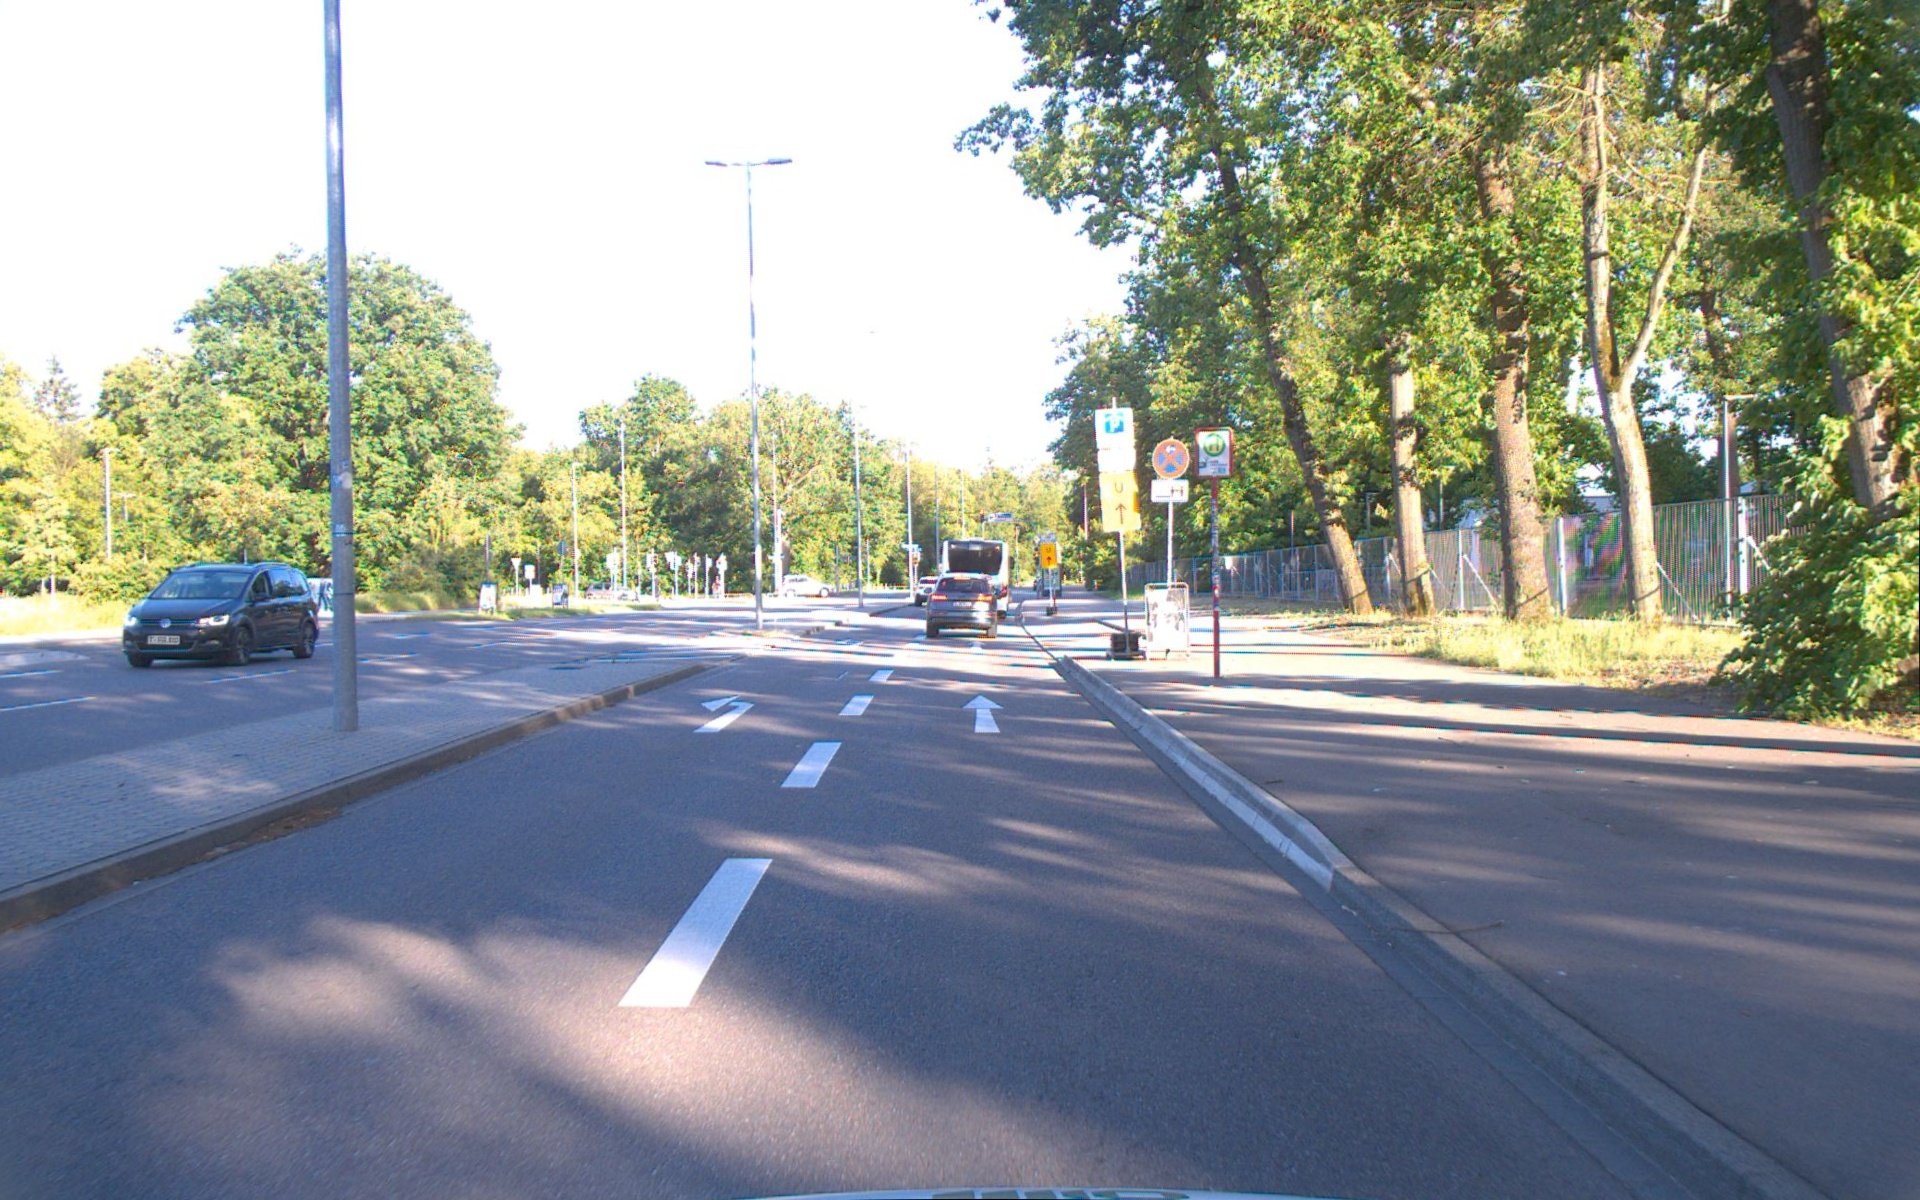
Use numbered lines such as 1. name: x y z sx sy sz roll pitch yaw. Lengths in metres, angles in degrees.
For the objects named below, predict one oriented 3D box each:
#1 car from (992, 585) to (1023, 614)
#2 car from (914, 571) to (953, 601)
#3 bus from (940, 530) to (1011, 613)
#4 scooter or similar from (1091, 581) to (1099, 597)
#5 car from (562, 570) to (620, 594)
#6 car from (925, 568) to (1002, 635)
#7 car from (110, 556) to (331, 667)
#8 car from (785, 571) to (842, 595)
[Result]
1. car: 2.950 -0.042 102.473 1.870 1.758 4.580 0 0 2
2. car: -1.392 -0.733 87.733 1.798 1.545 4.001 0 1 2
3. bus: 0.719 -1.068 65.895 2.541 3.041 9.329 0 0 2
4. scooter or similar: 12.532 -0.994 153.791 0.497 1.469 2.021 -1 1 -3
5. car: -27.032 -1.321 121.353 3.911 1.668 2.062 -2 0 -7
6. car: 0.139 0.011 43.786 1.859 1.660 4.001 1 1 2
7. car: -12.565 0.145 28.447 1.747 1.721 4.701 1 1 -1
8. car: -10.881 -1.257 122.870 4.138 1.612 2.101 -2 1 -7
